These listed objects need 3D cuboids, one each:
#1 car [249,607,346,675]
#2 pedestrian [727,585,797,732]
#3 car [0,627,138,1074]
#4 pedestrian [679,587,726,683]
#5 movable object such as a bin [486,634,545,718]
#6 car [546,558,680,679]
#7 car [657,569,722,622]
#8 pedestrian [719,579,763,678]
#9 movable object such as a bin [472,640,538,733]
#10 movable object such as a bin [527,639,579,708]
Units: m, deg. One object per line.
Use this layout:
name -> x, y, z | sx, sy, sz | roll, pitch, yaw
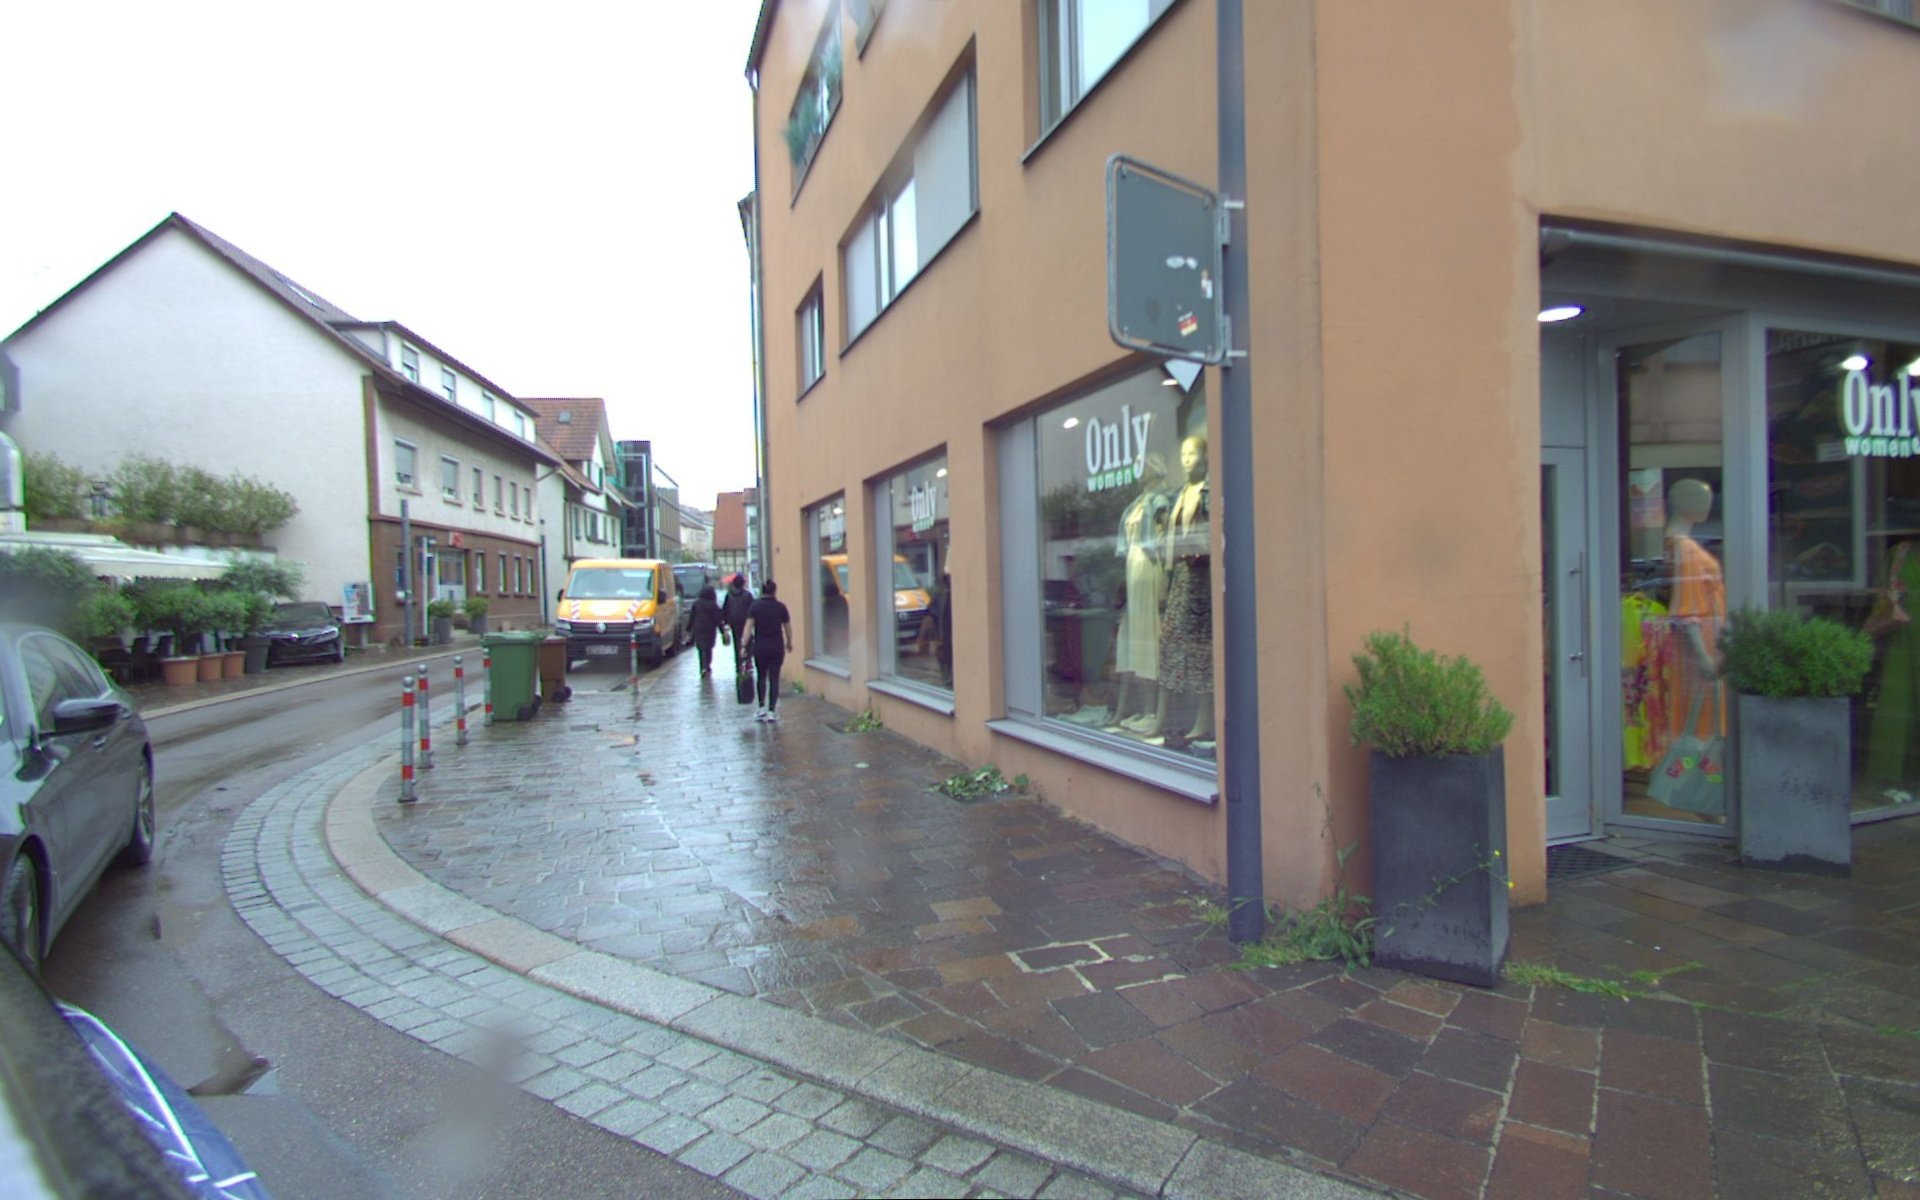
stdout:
car -> -15.197, 0.865, 23.332 | 1.709, 1.367, 3.948 | -2, 1, -32
pedestrian -> -2.302, 0.650, 11.714 | 0.650, 1.622, 0.686 | -2, 0, -20
car -> -5.190, 0.903, 4.631 | 1.916, 1.413, 4.430 | -2, 1, -36
pedestrian -> -4.646, 0.608, 18.258 | 0.705, 1.651, 0.748 | -3, 1, -17
movable object such as a bin -> -5.894, 0.997, 13.441 | 0.647, 1.044, 0.612 | -1, 0, -19
car -> -7.451, 0.334, 22.312 | 1.967, 2.256, 5.875 | -1, 1, -11
car -> -16.311, -0.209, 61.605 | 2.669, 2.895, 8.859 | -2, 0, -8
pedestrian -> -4.002, 0.508, 18.466 | 0.614, 1.725, 0.811 | -3, 1, -17
movable object such as a bin -> -5.481, 1.027, 12.226 | 0.647, 1.044, 0.612 | -2, 0, -18
movable object such as a bin -> -5.871, 1.057, 14.620 | 0.574, 0.934, 0.482 | -2, 0, -9
